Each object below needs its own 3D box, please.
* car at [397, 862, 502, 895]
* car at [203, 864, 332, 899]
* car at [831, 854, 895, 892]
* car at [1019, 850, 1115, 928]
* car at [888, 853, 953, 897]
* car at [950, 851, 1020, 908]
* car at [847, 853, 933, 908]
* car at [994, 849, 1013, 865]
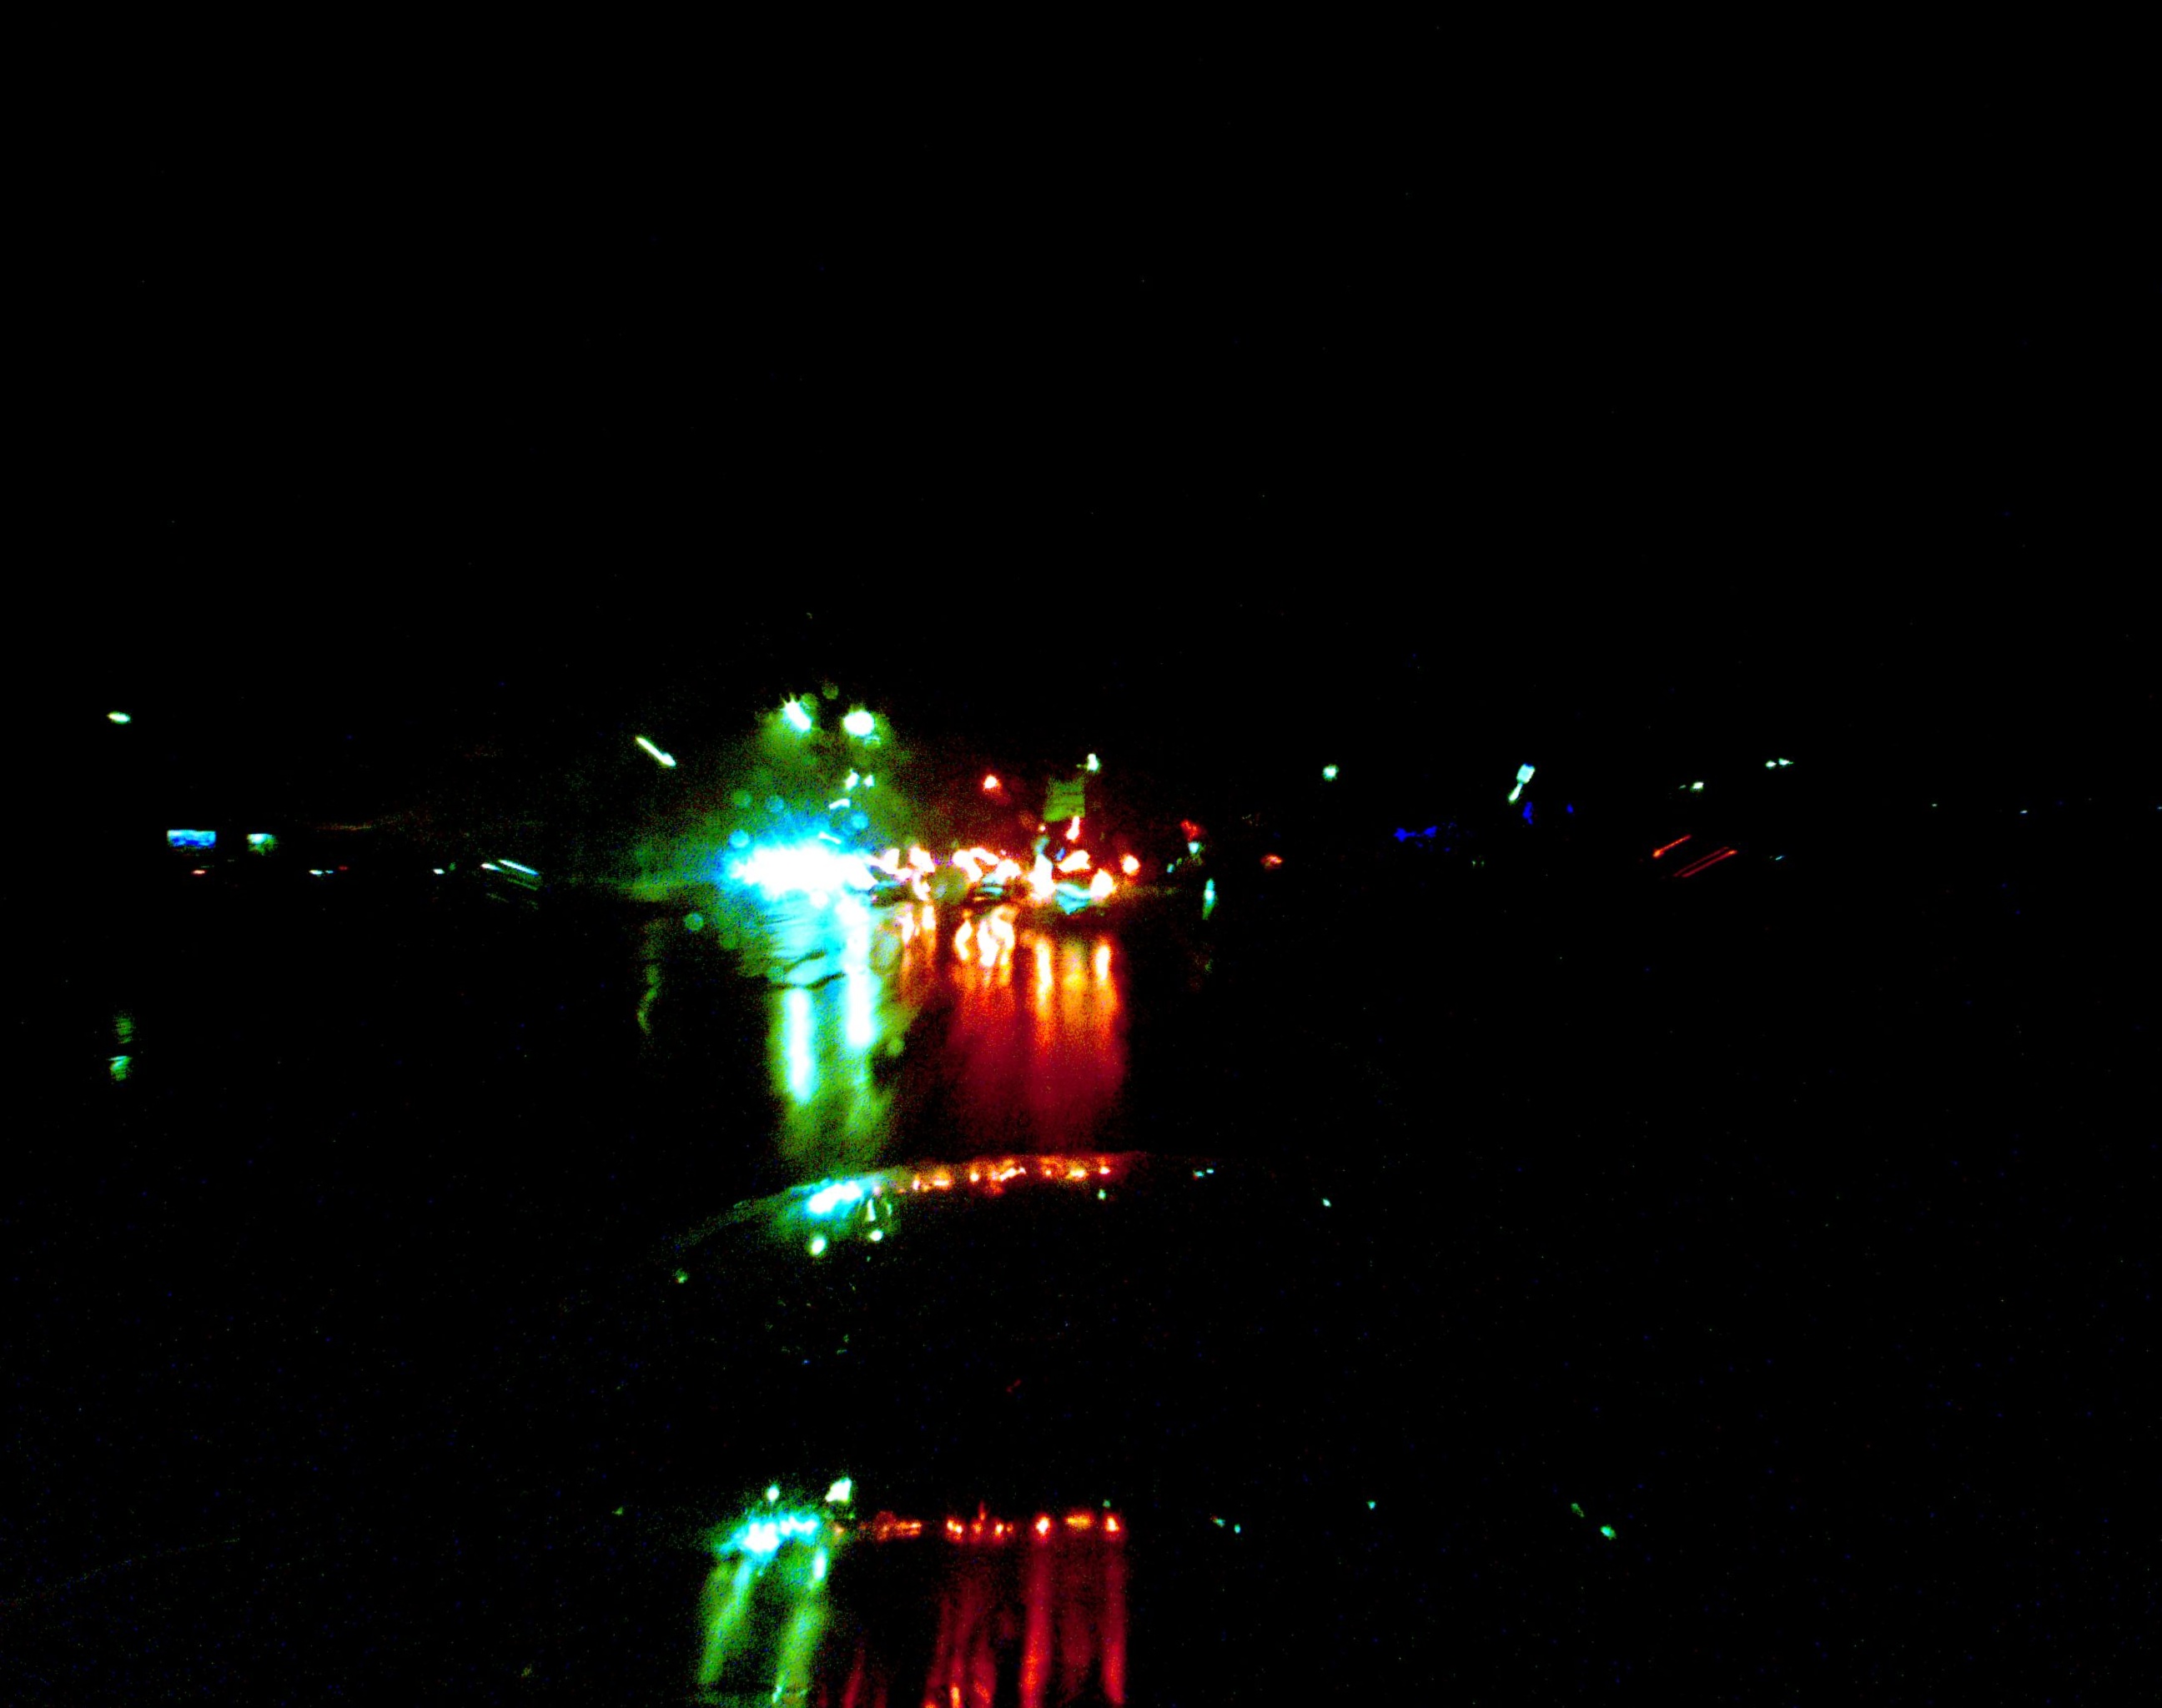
[{"bbox_3d":[-35.518,1.346,45.978,4.295,1.628,1.984,-1,0,-25],"label":"car"},{"bbox_3d":[-42.437,1.420,42.632,4.293,1.628,1.985,-1,0,-23],"label":"car"},{"bbox_3d":[-11.061,0.922,41.705,1.989,1.628,4.980,-3,1,-2],"label":"car"},{"bbox_3d":[-0.197,0.779,19.917,1.985,1.628,4.988,-1,-1,3],"label":"car"},{"bbox_3d":[-7.004,0.864,36.002,1.989,1.628,4.980,-3,1,-2],"label":"car"},{"bbox_3d":[-3.243,0.800,28.472,1.989,1.628,4.980,-3,1,-2],"label":"car"},{"bbox_3d":[-6.705,0.859,29.101,1.989,1.628,4.980,-3,1,-2],"label":"car"},{"bbox_3d":[-8.575,0.316,90.276,1.990,1.628,4.976,-3,1,-5],"label":"car"}]
